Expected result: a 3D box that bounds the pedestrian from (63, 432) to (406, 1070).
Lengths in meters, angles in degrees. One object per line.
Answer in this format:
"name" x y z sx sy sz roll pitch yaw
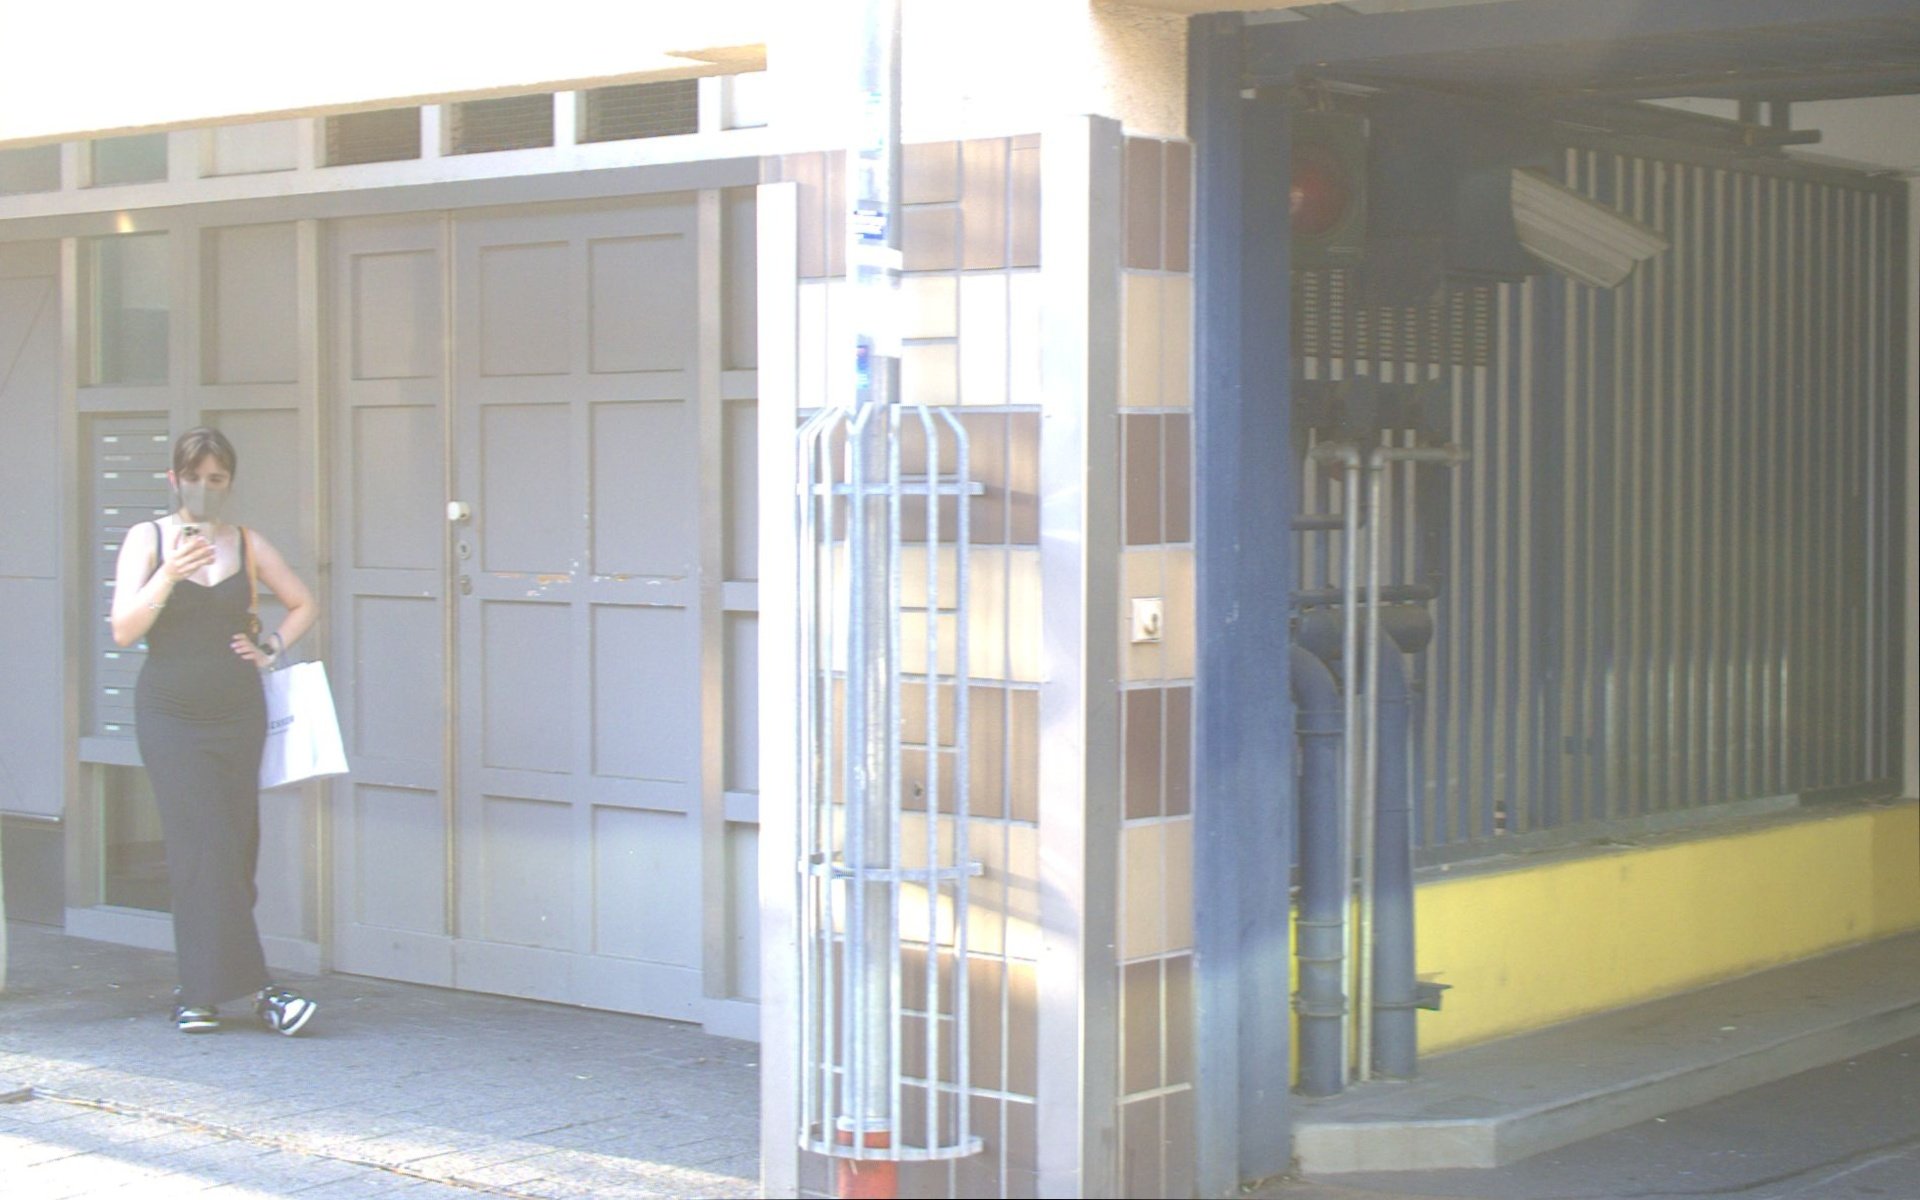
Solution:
"pedestrian" -1.864 0.359 8.812 0.776 1.567 0.534 0 2 -22
